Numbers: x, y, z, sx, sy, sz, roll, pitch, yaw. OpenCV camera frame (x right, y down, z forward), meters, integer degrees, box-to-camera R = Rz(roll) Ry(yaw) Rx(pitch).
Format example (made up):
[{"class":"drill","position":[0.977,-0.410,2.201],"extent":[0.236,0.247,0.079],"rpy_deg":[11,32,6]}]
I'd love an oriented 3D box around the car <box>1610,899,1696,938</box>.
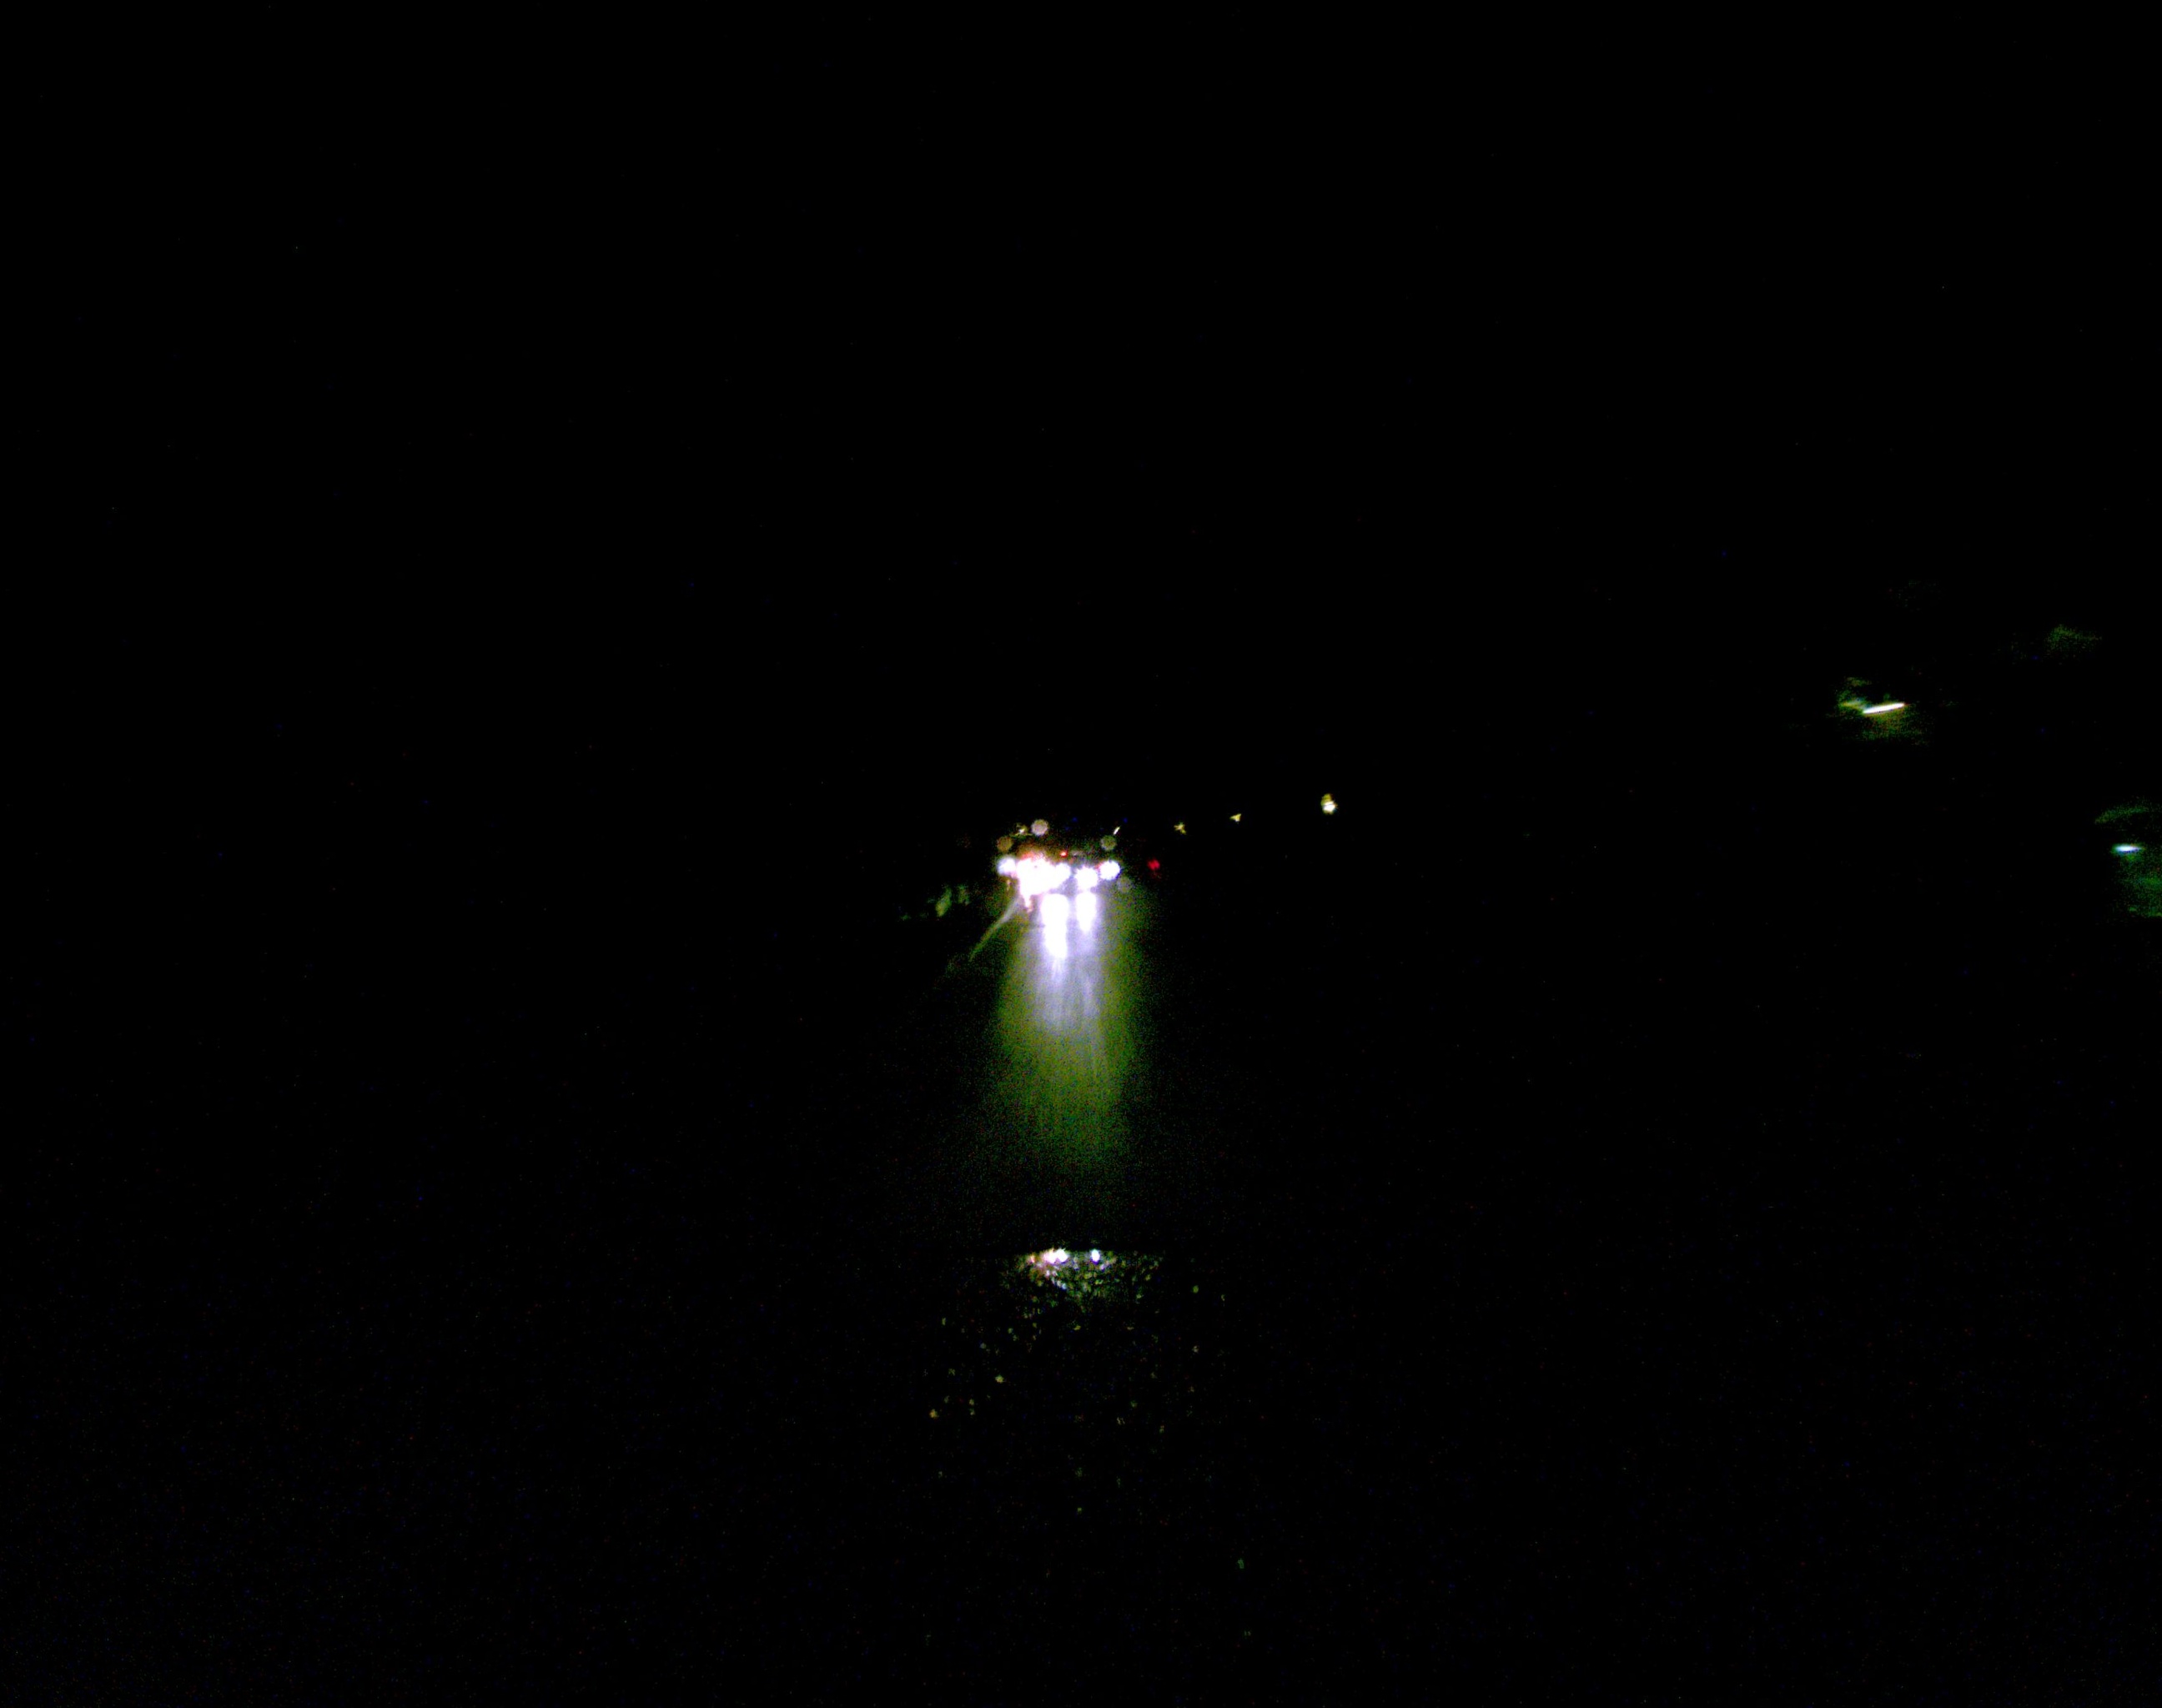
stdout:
[{"class":"car","position":[32.942,3.662,43.881],"extent":[1.723,1.896,3.718],"rpy_deg":[-2,0,-14]}]

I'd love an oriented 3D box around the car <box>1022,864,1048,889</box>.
[{"class":"car","position":[-4.186,2.001,68.320],"extent":[1.900,2.002,3.996],"rpy_deg":[-2,1,-9]}]

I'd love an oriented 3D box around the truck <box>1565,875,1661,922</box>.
[{"class":"truck","position":[44.616,3.655,63.966],"extent":[2.443,3.241,6.559],"rpy_deg":[4,1,-11]}]

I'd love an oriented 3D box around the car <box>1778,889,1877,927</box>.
[{"class":"car","position":[45.746,3.256,46.695],"extent":[1.740,2.002,3.995],"rpy_deg":[-2,0,-15]}]

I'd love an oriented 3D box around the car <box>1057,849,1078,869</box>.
[{"class":"car","position":[-1.459,0.534,83.062],"extent":[1.897,1.991,4.878],"rpy_deg":[-3,0,-5]}]

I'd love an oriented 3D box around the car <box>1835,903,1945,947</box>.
[{"class":"car","position":[36.871,3.190,34.639],"extent":[4.003,1.630,1.997],"rpy_deg":[-2,0,-20]}]

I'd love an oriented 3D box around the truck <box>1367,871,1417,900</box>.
[{"class":"truck","position":[33.145,3.303,81.290],"extent":[2.174,2.504,6.868],"rpy_deg":[4,1,-2]}]

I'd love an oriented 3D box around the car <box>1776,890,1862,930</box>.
[{"class":"car","position":[36.206,2.707,37.252],"extent":[4.006,1.630,1.995],"rpy_deg":[-2,0,-30]}]

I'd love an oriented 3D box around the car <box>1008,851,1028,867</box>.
[{"class":"car","position":[-7.136,0.534,85.287],"extent":[1.710,1.762,3.995],"rpy_deg":[-2,1,-12]}]

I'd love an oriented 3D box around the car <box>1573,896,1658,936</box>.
[{"class":"car","position":[30.165,3.444,43.003],"extent":[1.723,1.896,3.718],"rpy_deg":[-2,0,-14]}]

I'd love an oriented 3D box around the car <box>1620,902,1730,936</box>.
[{"class":"car","position":[28.918,3.157,37.028],"extent":[3.999,1.194,1.846],"rpy_deg":[4,1,-6]}]

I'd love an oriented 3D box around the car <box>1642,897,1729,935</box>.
[{"class":"car","position":[35.512,3.577,44.719],"extent":[1.723,1.896,3.718],"rpy_deg":[-2,0,-14]}]

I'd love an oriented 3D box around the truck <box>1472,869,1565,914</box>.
[{"class":"truck","position":[35.728,2.997,62.400],"extent":[2.443,3.080,7.043],"rpy_deg":[4,1,-11]}]

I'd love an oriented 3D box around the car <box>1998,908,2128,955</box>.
[{"class":"car","position":[47.530,3.738,36.832],"extent":[3.999,1.845,1.930],"rpy_deg":[4,1,-6]}]

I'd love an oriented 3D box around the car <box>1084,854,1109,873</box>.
[{"class":"car","position":[1.241,0.707,61.216],"extent":[1.595,1.372,4.323],"rpy_deg":[-2,1,-4]}]

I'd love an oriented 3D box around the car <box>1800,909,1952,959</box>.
[{"class":"car","position":[30.423,3.045,29.149],"extent":[3.999,1.447,1.910],"rpy_deg":[4,1,-6]}]

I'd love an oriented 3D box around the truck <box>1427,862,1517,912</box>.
[{"class":"truck","position":[31.413,2.543,61.457],"extent":[2.475,3.460,7.044],"rpy_deg":[4,1,-10]}]

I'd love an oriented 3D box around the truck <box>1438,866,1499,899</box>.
[{"class":"truck","position":[41.451,3.005,81.503],"extent":[2.175,3.028,6.689],"rpy_deg":[4,1,-8]}]

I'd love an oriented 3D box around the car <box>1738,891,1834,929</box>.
[{"class":"car","position":[42.985,3.367,46.445],"extent":[1.740,2.002,3.995],"rpy_deg":[-2,0,-15]}]

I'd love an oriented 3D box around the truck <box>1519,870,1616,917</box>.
[{"class":"truck","position":[40.323,3.172,63.318],"extent":[2.443,3.241,7.043],"rpy_deg":[4,1,-11]}]

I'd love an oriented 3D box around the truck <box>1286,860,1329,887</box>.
[{"class":"truck","position":[23.929,2.024,80.626],"extent":[2.174,2.504,6.868],"rpy_deg":[4,1,-2]}]

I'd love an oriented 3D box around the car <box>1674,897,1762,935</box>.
[{"class":"car","position":[37.942,3.643,45.378],"extent":[1.723,1.896,3.718],"rpy_deg":[-2,0,-14]}]

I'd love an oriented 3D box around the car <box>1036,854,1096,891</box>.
[{"class":"car","position":[-0.780,0.827,35.707],"extent":[2.001,1.584,4.604],"rpy_deg":[1,0,-11]}]

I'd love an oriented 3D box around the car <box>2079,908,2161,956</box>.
[{"class":"car","position":[48.314,3.580,34.333],"extent":[3.999,1.845,1.998],"rpy_deg":[4,1,-6]}]
